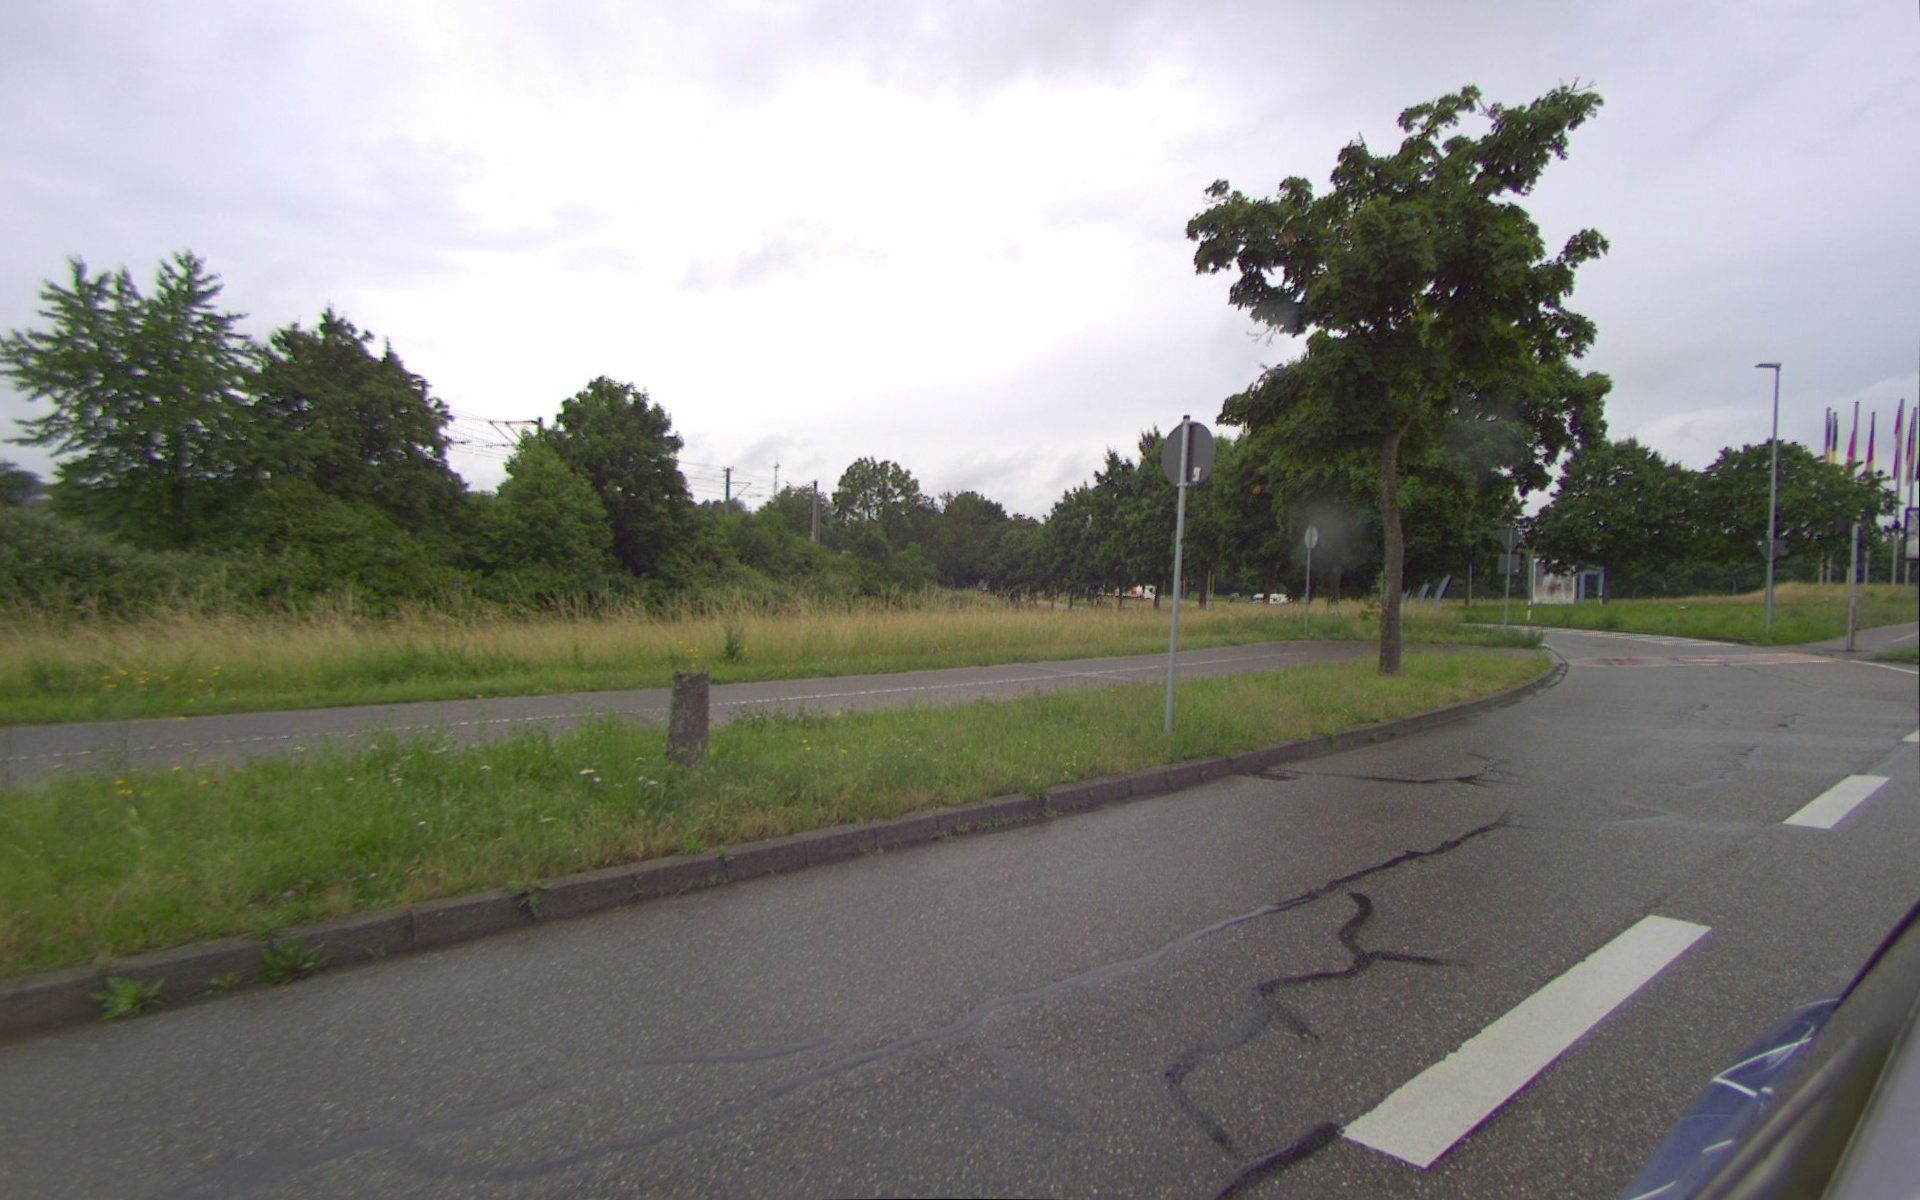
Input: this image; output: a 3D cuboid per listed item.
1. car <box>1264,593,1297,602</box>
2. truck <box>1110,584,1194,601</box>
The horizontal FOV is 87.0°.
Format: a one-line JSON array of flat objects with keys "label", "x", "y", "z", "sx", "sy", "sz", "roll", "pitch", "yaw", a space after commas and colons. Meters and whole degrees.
[{"label": "car", "x": 57.710, "y": -0.487, "z": 182.323, "sx": 5.248, "sy": 1.627, "sz": 2.216, "roll": 1, "pitch": 1, "yaw": 32}, {"label": "truck", "x": 34.146, "y": -1.404, "z": 180.521, "sx": 14.519, "sy": 2.765, "sz": 3.466, "roll": 2, "pitch": 1, "yaw": 33}]
